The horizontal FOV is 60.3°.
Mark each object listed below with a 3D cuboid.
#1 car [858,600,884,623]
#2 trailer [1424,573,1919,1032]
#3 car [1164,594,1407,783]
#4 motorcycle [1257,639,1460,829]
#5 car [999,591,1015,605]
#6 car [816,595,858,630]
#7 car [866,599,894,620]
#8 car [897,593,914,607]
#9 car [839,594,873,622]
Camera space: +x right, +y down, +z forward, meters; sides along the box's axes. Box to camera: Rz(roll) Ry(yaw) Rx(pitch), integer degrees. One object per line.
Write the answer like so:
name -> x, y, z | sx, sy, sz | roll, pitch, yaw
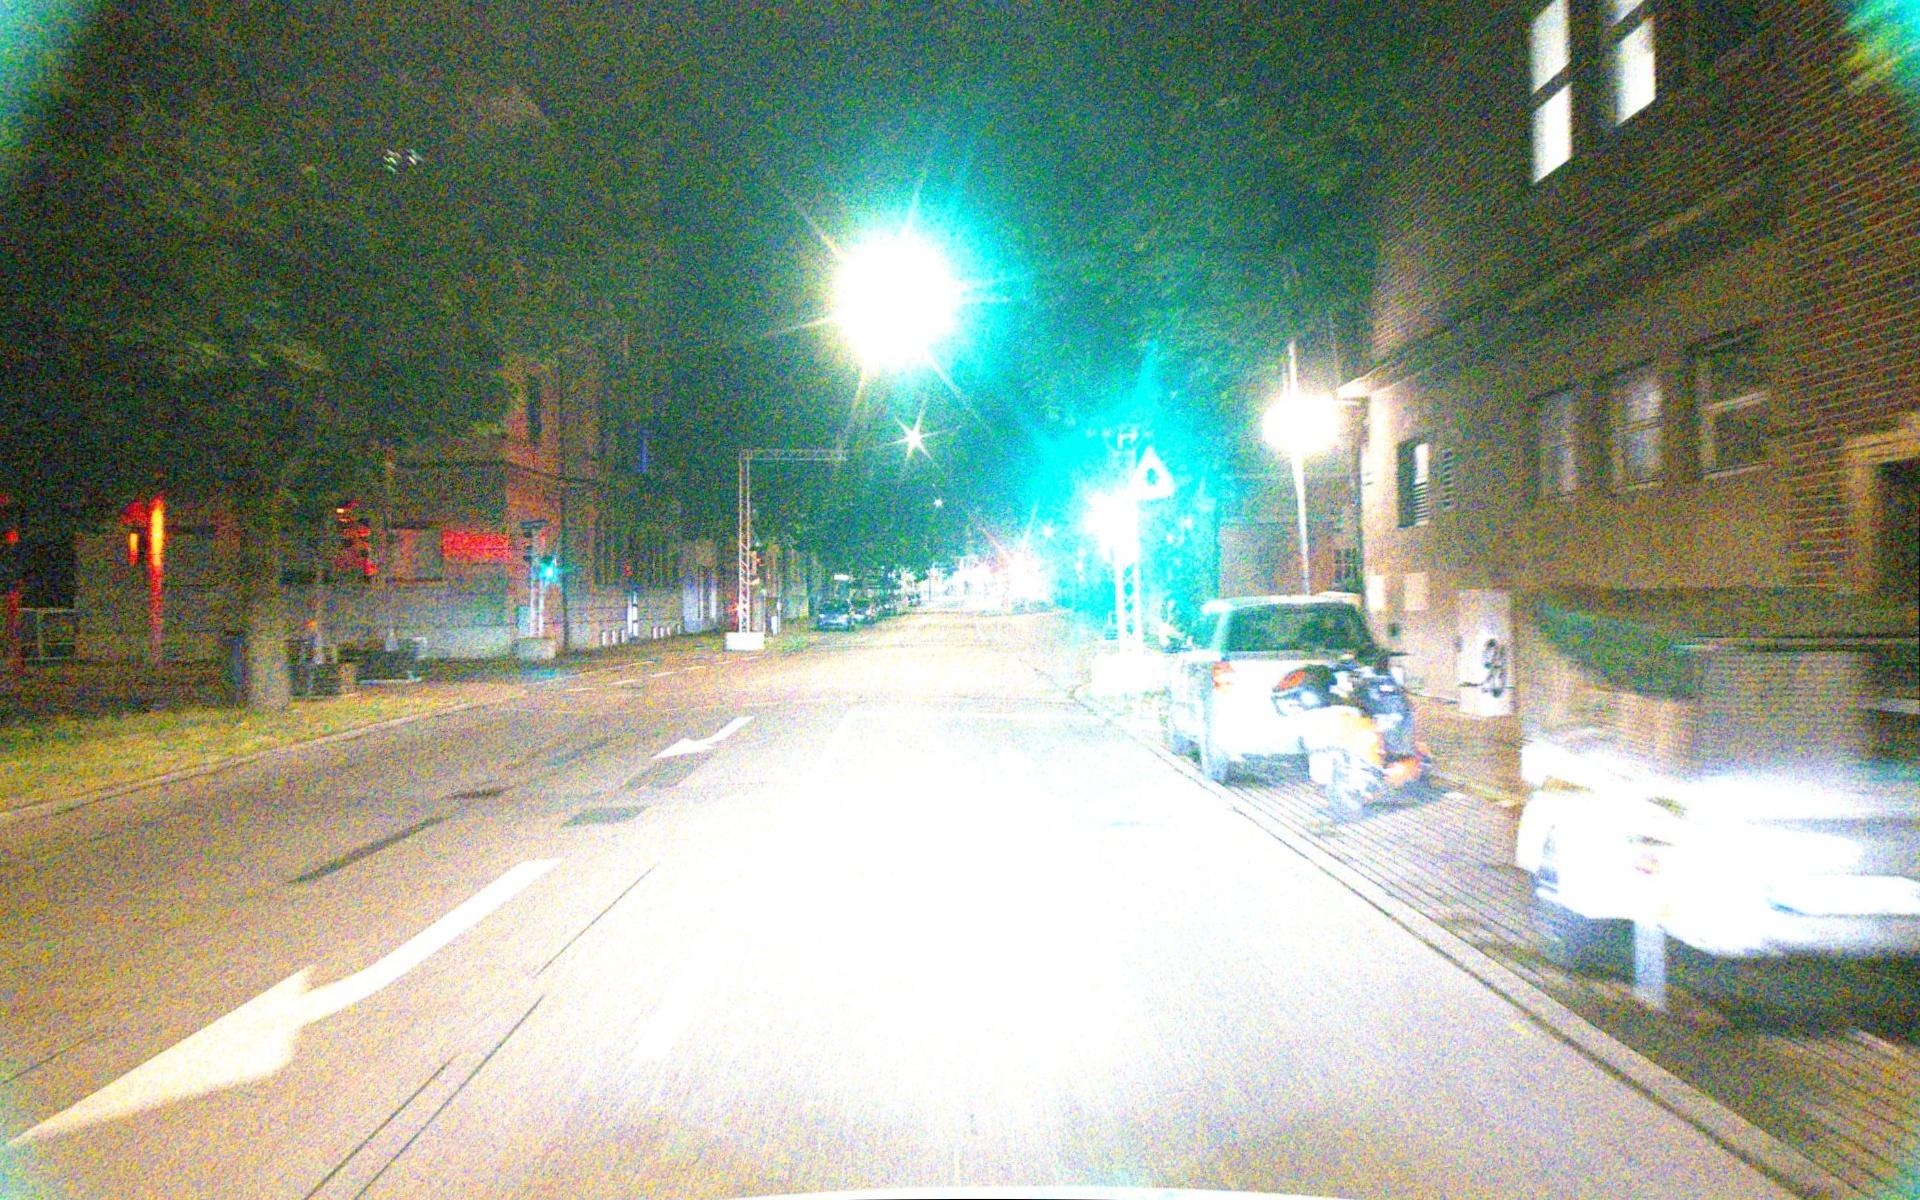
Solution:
car -> -5.834, 0.767, 108.346 | 1.590, 1.407, 4.449 | -2, 0, -3
trailer -> 3.277, 0.667, 7.355 | 1.567, 1.521, 3.735 | 0, 0, 3
car -> 2.815, 0.697, 15.029 | 1.554, 1.486, 3.798 | -1, 0, 2
motorcycle -> 2.867, 0.883, 11.699 | 0.713, 1.150, 2.222 | 0, 0, 33
car -> 5.132, -0.198, 179.942 | 1.617, 1.456, 4.001 | -2, 0, 2
car -> -5.828, 0.619, 78.705 | 1.679, 1.520, 3.989 | -1, -2, 0
car -> -5.863, 0.699, 121.508 | 1.860, 1.497, 4.452 | 0, 0, 0
car -> -5.845, 0.036, 177.197 | 1.617, 1.456, 4.000 | -2, 0, 0
car -> -5.962, 0.468, 94.908 | 1.732, 1.511, 4.766 | -2, 0, -2
